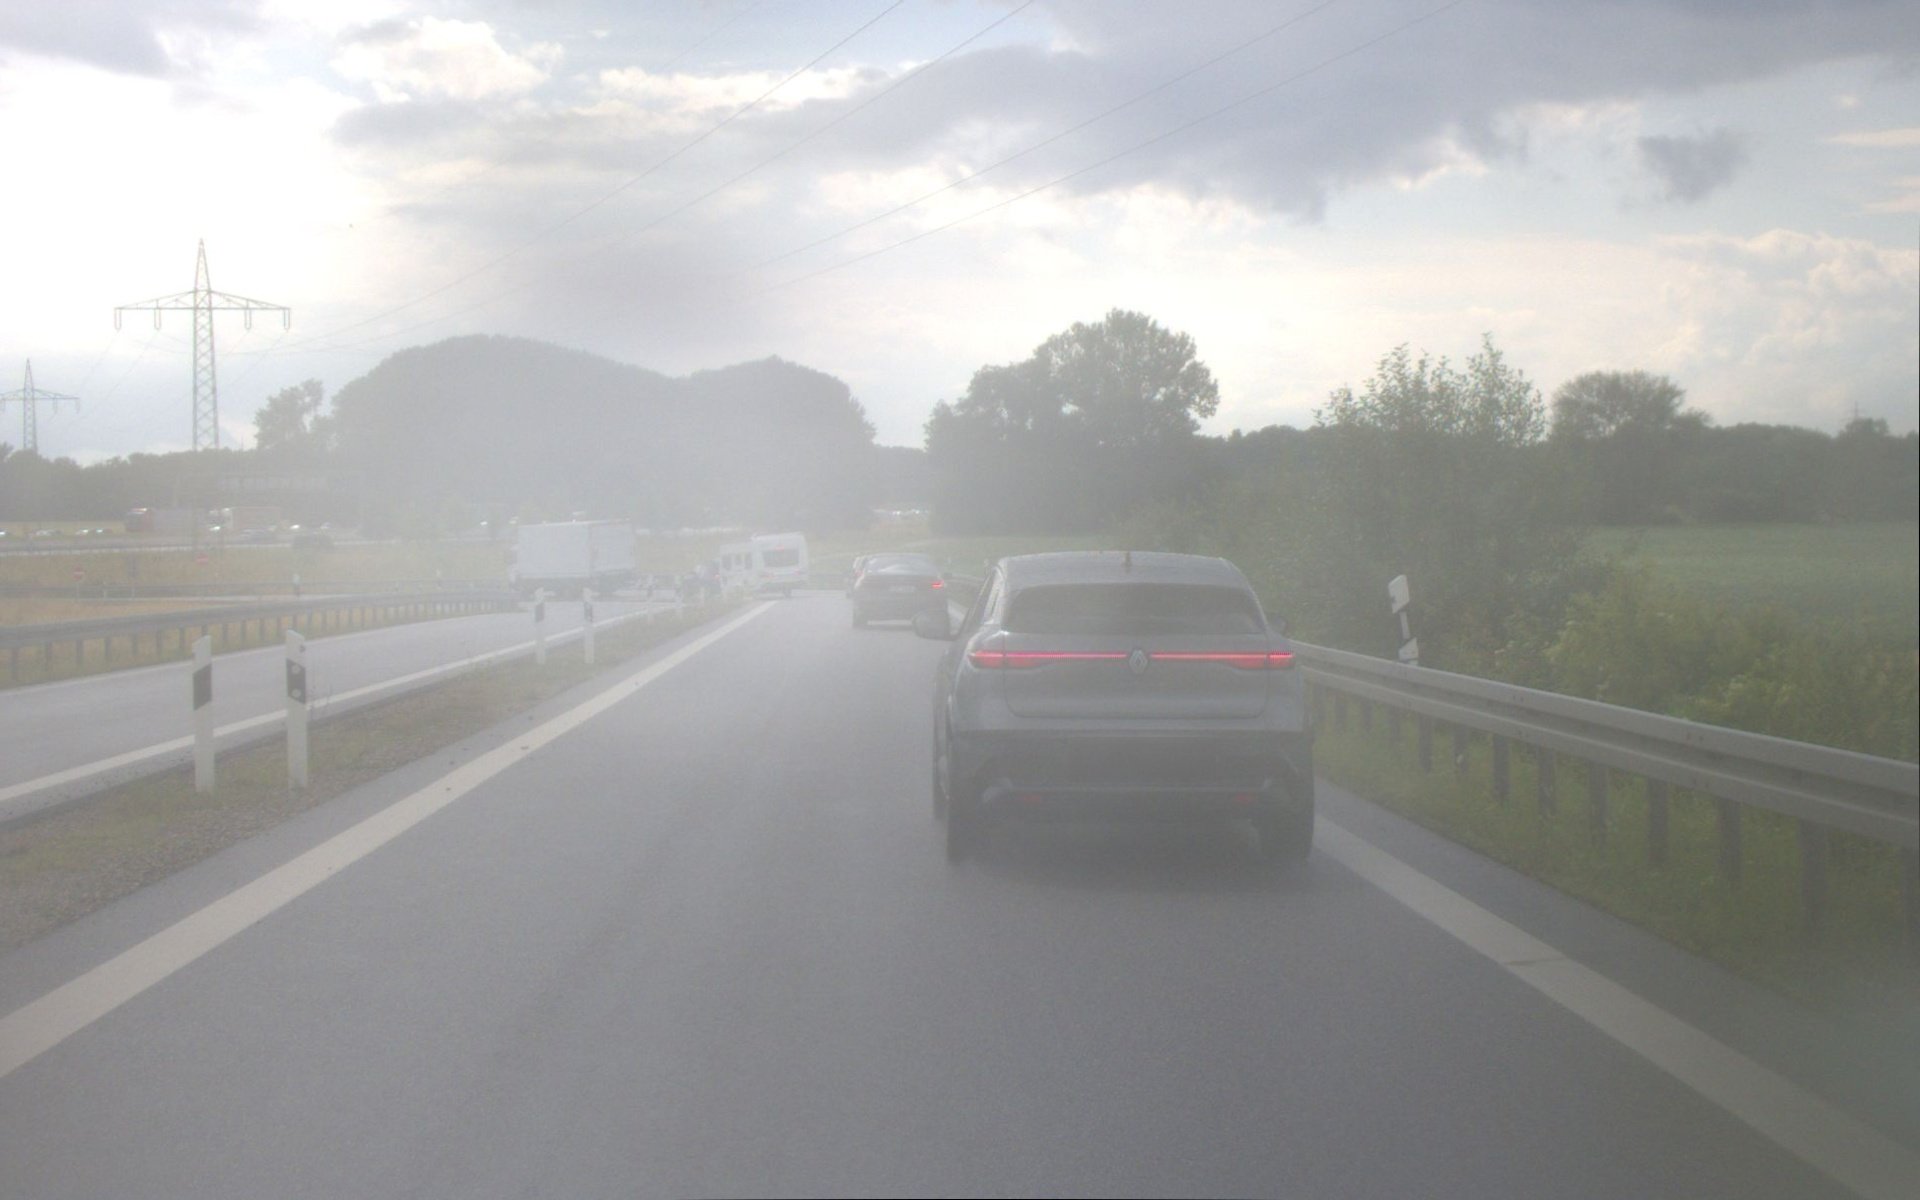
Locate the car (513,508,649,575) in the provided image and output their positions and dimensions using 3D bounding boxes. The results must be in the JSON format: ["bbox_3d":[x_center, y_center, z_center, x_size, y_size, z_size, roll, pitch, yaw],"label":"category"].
[{"bbox_3d":[-18.229,-2.853,164.985,3.137,2.941,7.207,-3,4,-38],"label":"car"}]

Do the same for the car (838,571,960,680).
[{"bbox_3d":[-1.291,0.464,69.732,2.121,2.011,5.535,-1,1,-4],"label":"car"}]

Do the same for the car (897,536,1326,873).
[{"bbox_3d":[0.737,0.458,18.223,1.993,1.561,4.149,1,1,1],"label":"car"}]

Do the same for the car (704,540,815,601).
[{"bbox_3d":[-8.361,-1.249,143.013,2.351,2.299,5.128,-3,4,-33],"label":"car"}]

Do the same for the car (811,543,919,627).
[{"bbox_3d":[-2.982,-0.507,106.576,2.350,2.299,5.131,-1,3,-13],"label":"car"}]
